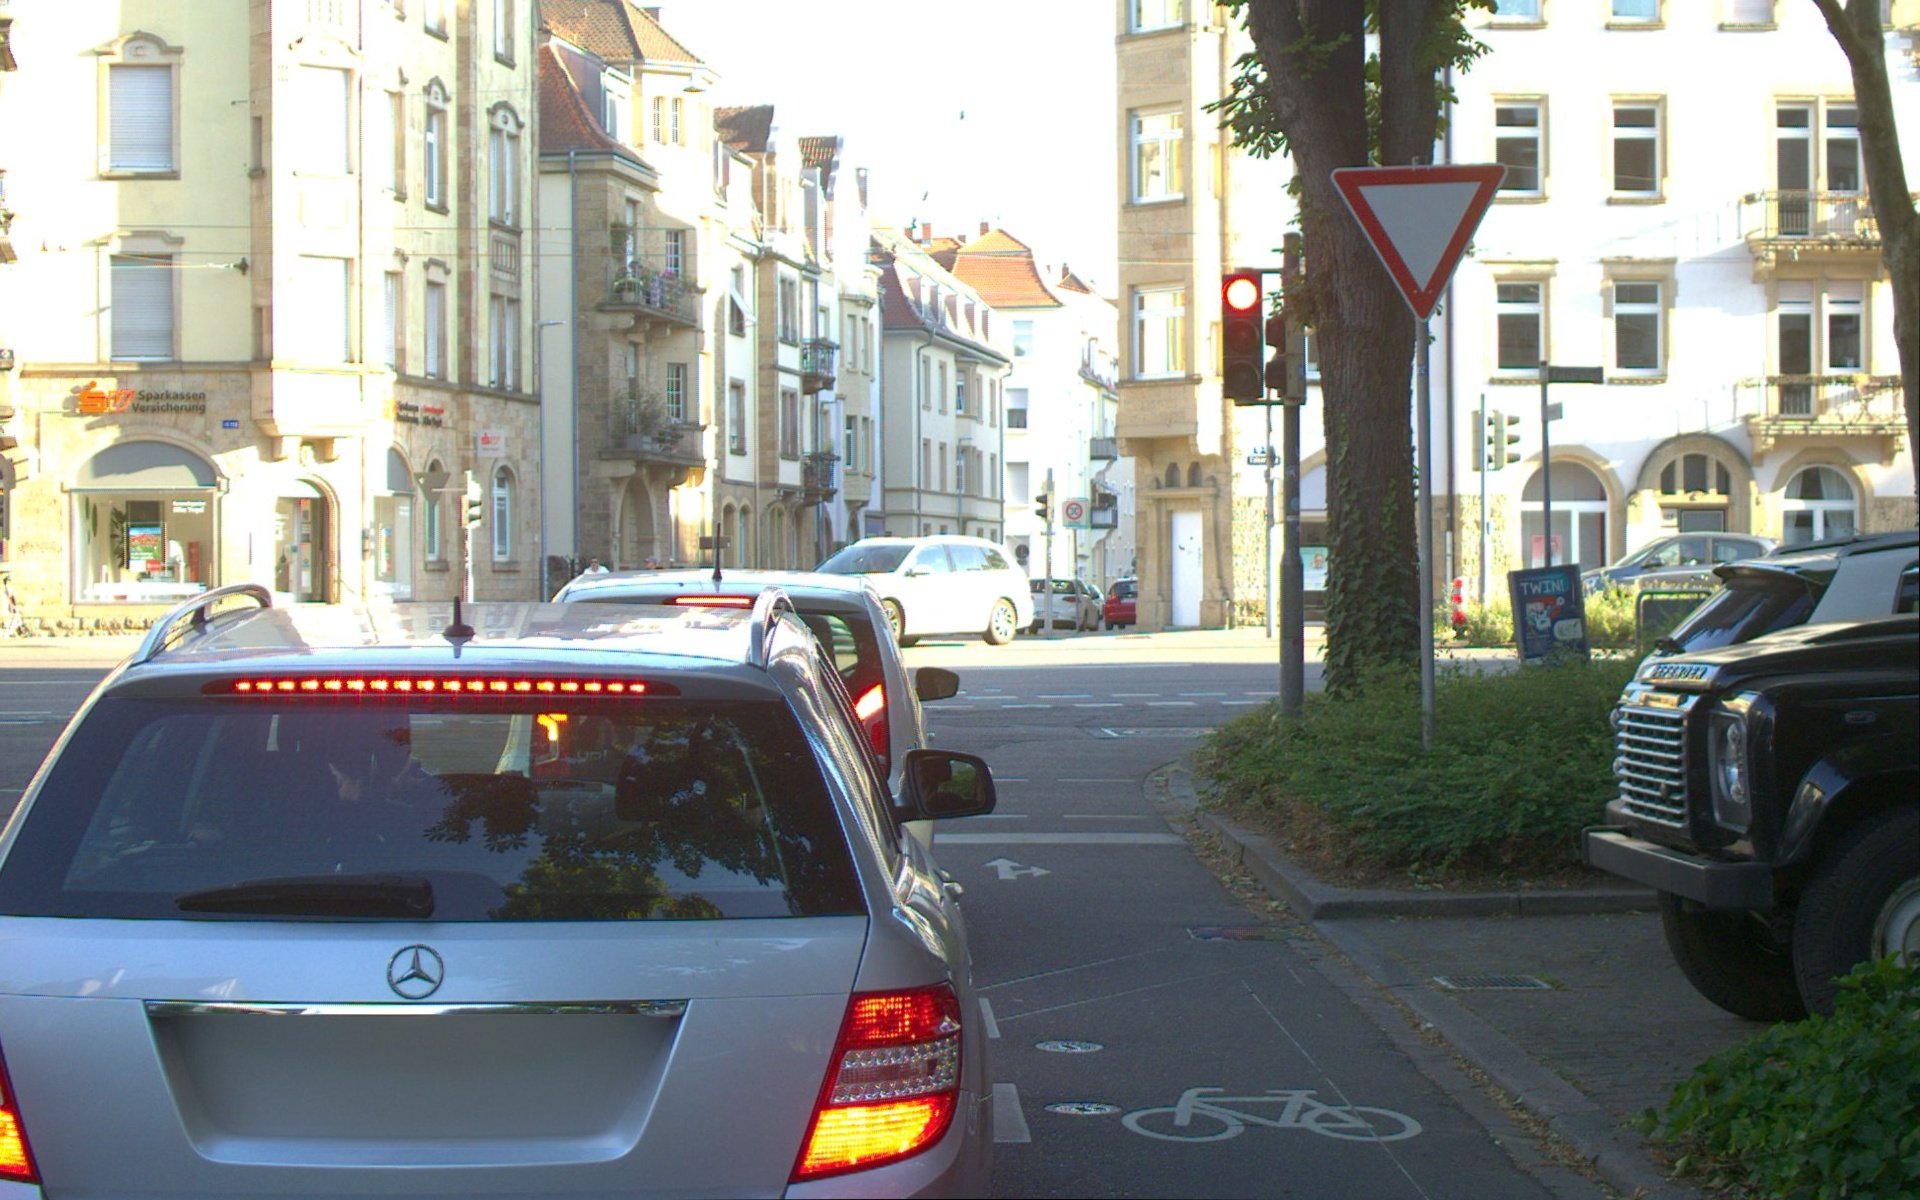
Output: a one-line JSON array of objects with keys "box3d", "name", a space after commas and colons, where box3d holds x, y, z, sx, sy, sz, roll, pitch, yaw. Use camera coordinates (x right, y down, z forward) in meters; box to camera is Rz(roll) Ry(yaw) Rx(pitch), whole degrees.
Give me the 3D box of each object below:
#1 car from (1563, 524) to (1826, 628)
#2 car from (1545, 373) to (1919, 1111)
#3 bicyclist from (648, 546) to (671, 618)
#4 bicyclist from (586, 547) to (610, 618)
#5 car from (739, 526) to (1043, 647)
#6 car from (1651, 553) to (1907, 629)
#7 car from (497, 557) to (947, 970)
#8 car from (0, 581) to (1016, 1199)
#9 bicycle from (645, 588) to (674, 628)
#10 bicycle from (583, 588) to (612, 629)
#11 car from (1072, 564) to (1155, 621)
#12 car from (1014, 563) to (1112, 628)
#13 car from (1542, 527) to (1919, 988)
[{"box3d": [10.977, -0.372, 51.519, 3.580, 1.496, 1.621, 0, 2, 0], "name": "car"}, {"box3d": [4.189, 0.291, 10.180, 4.490, 1.949, 1.793, -2, 1, -3], "name": "car"}, {"box3d": [-6.413, -0.384, 73.431, 0.466, 1.516, 0.694, 0, 1, -4], "name": "bicyclist"}, {"box3d": [-7.719, -0.375, 73.333, 0.466, 1.509, 0.655, 0, 1, -4], "name": "bicyclist"}, {"box3d": [-0.853, -0.220, 45.046, 1.785, 1.457, 4.291, 1, 2, 35], "name": "car"}, {"box3d": [11.861, -0.135, 49.891, 3.364, 1.065, 1.380, 0, 1, -1], "name": "car"}, {"box3d": [-0.882, 0.541, 13.576, 1.533, 1.386, 3.600, 0, 1, -2], "name": "car"}, {"box3d": [-0.873, 0.707, 6.466, 1.690, 1.424, 3.493, 1, 1, -3], "name": "car"}, {"box3d": [-6.407, 0.164, 73.358, 0.568, 0.832, 1.566, 0, 1, -4], "name": "bicycle"}, {"box3d": [-7.735, 0.174, 73.368, 0.568, 0.832, 1.566, 0, 1, -4], "name": "bicycle"}, {"box3d": [4.569, -0.233, 102.073, 1.722, 1.473, 3.998, -4, 1, 12], "name": "car"}, {"box3d": [2.606, -0.130, 85.875, 1.722, 1.473, 3.998, -2, 1, 12], "name": "car"}, {"box3d": [4.158, 0.503, 13.021, 3.480, 1.580, 1.711, -2, 1, -6], "name": "car"}]
